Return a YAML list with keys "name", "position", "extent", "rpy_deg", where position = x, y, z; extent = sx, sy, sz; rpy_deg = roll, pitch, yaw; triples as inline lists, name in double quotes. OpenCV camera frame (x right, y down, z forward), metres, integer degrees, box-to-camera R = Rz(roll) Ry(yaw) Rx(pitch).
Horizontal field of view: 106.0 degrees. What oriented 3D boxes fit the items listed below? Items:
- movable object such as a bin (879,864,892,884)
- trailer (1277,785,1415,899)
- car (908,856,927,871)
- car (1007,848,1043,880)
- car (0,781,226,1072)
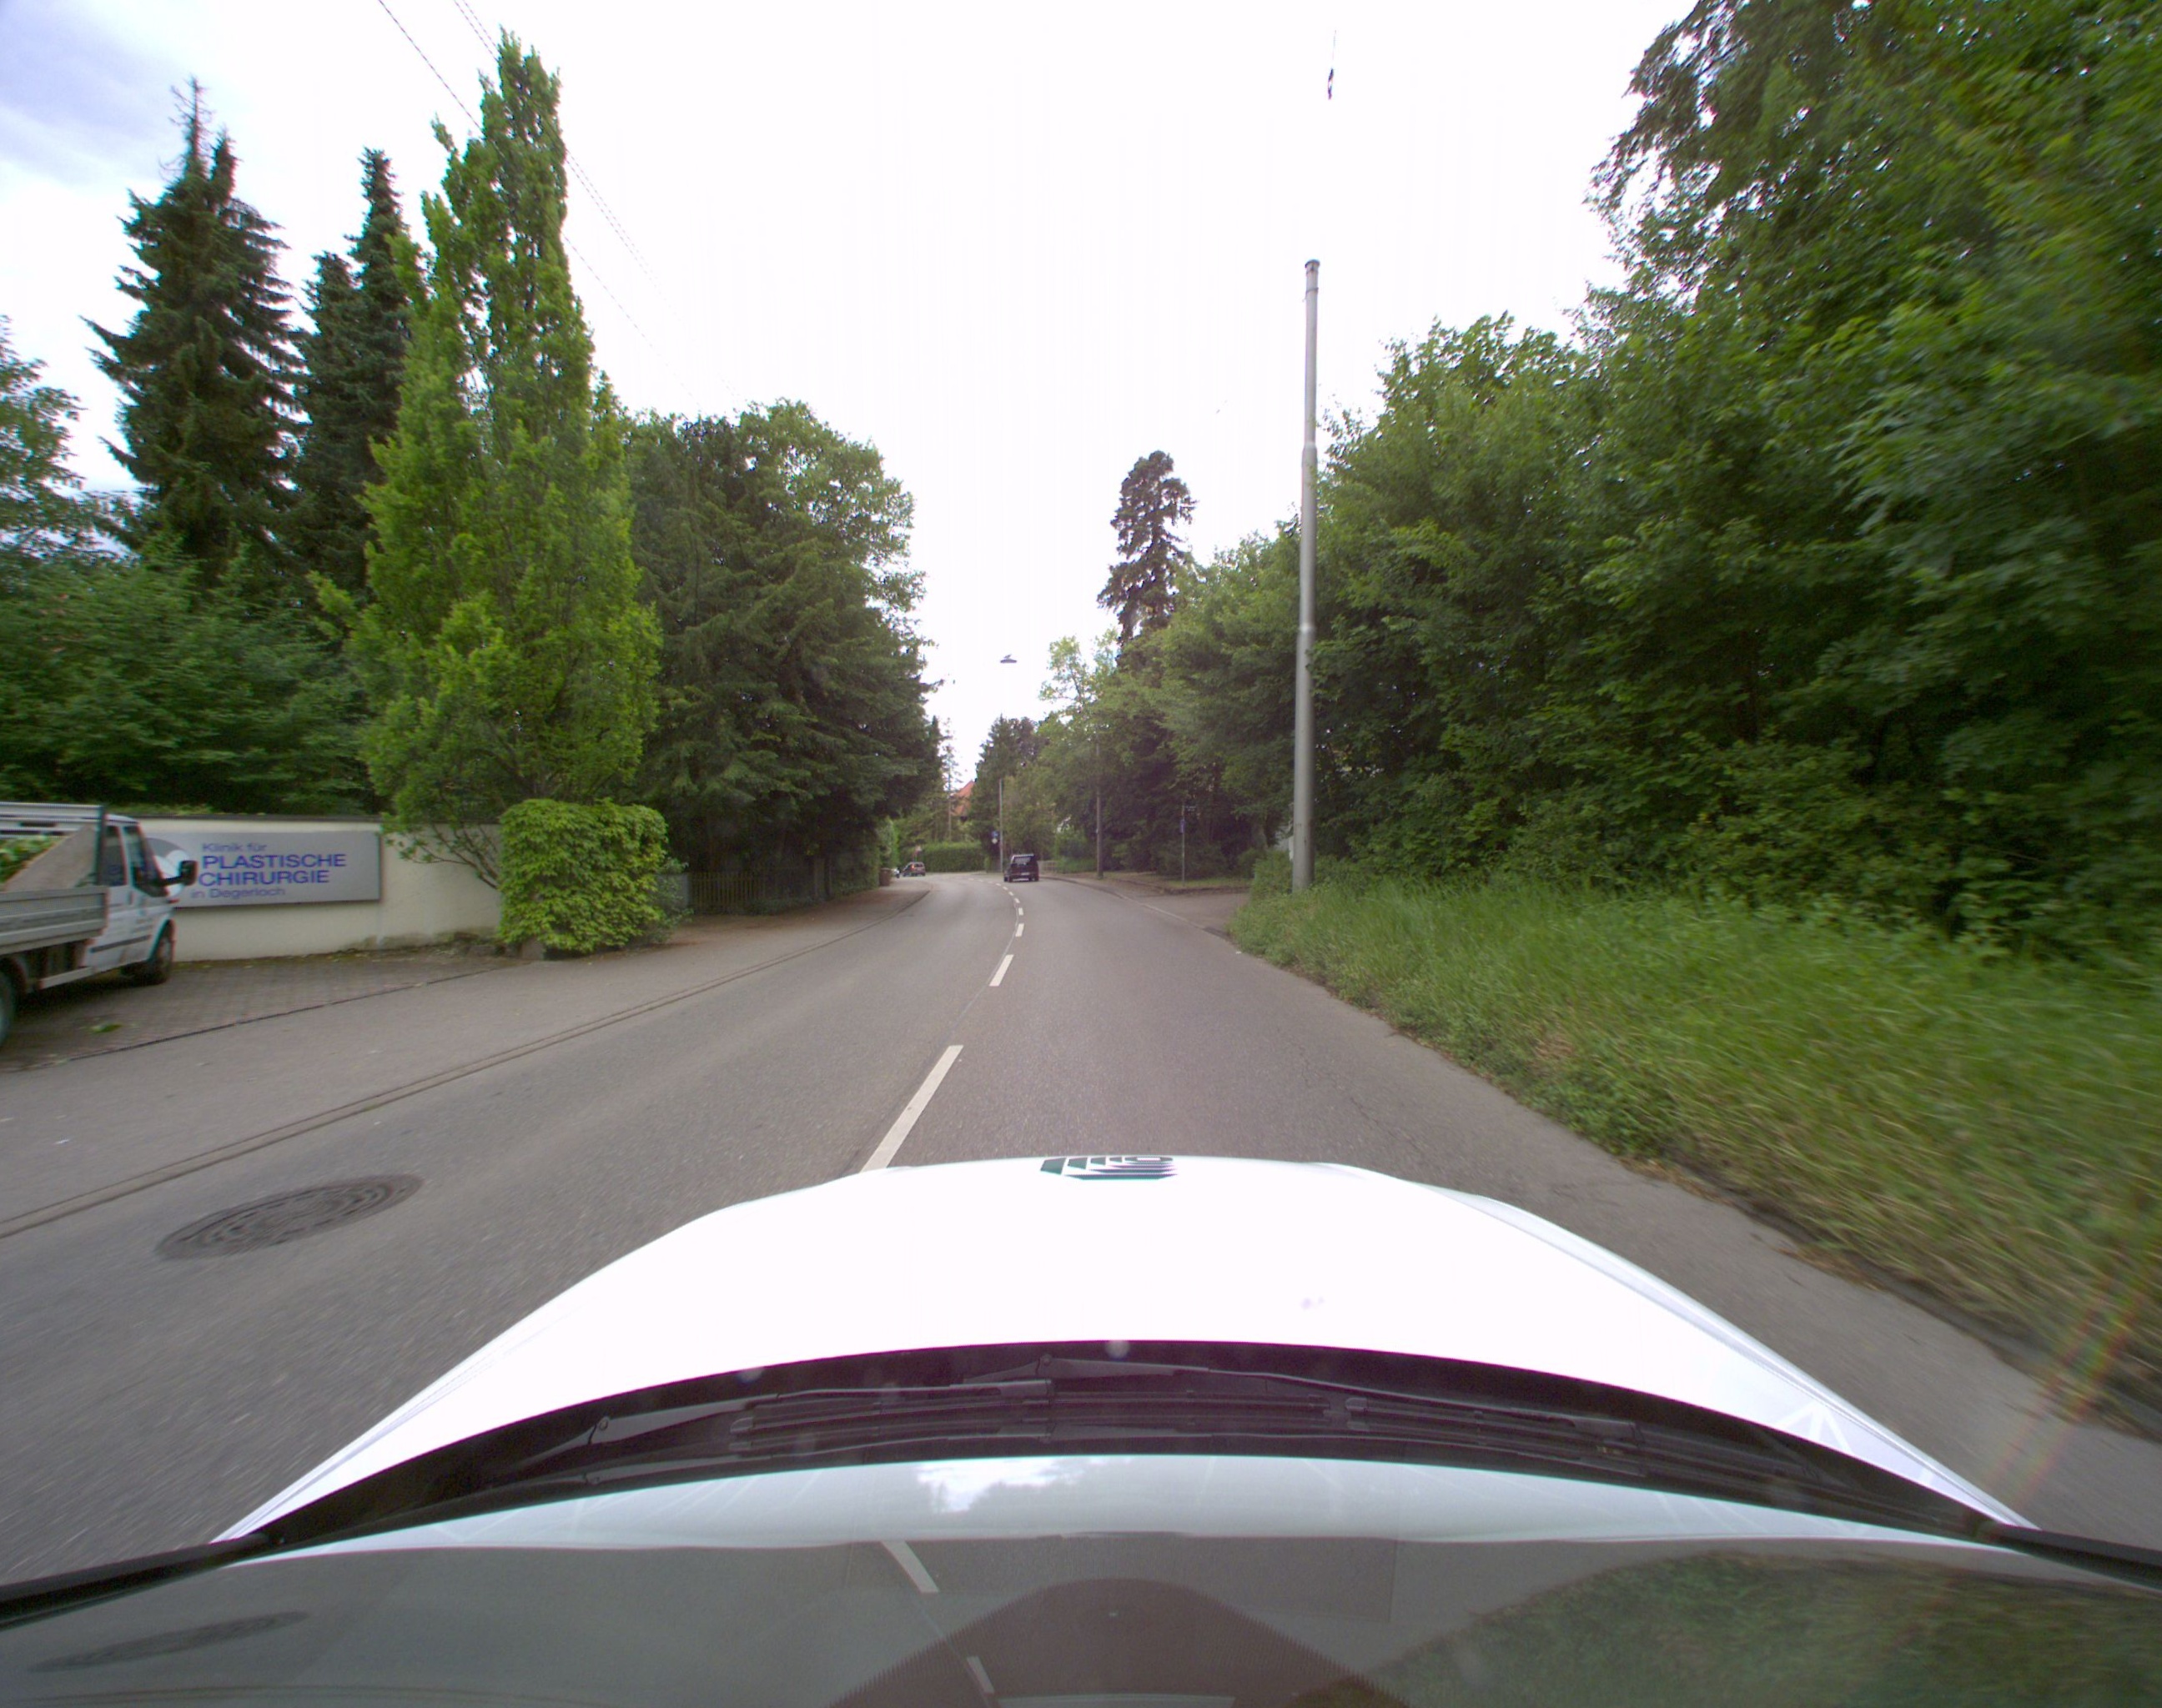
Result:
- name: "movable object such as a bin"
  position: [-11.725, 1.197, 48.927]
  extent: [0.741, 1.141, 0.644]
  rpy_deg: [0, -1, -12]
- name: "trailer"
  position: [7.177, -0.327, 22.218]
  extent: [3.113, 2.899, 1.589]
  rpy_deg: [-2, 0, -7]
- name: "car"
  position: [-18.653, 1.041, 93.005]
  extent: [1.993, 1.618, 3.987]
  rpy_deg: [-1, 1, -10]
- name: "car"
  position: [-3.617, 0.607, 51.695]
  extent: [1.992, 1.881, 3.989]
  rpy_deg: [-1, 1, -8]
- name: "car"
  position: [-10.167, 0.545, 7.252]
  extent: [2.436, 2.073, 5.304]
  rpy_deg: [-1, 0, -34]
